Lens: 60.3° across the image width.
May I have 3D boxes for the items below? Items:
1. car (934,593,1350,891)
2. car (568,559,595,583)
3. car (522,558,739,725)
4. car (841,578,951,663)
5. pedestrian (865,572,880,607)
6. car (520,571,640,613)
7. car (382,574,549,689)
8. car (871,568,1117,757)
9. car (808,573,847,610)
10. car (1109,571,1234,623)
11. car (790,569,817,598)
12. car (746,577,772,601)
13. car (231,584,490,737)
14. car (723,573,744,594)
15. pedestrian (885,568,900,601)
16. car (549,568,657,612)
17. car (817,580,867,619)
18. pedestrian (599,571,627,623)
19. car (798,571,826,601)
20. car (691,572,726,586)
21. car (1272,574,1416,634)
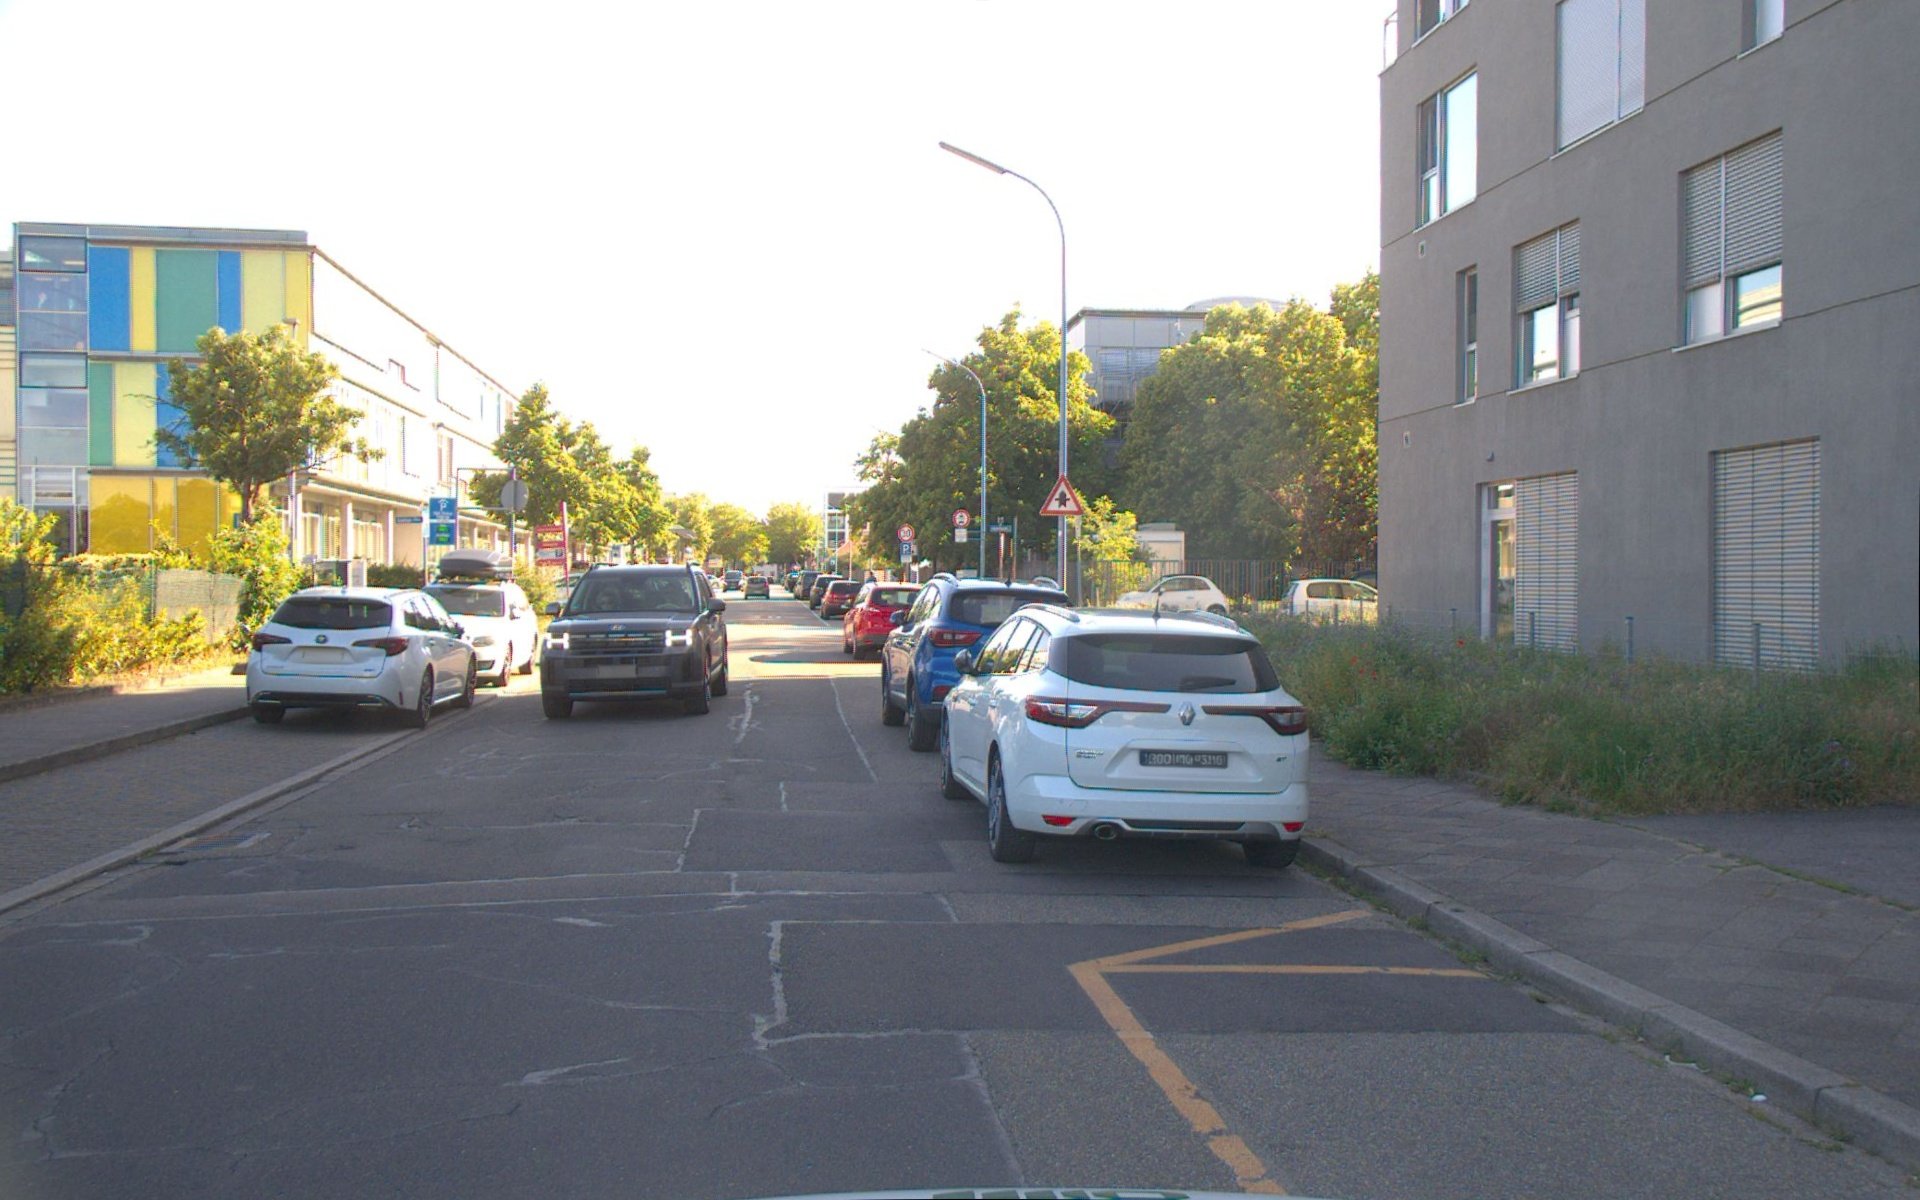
[{"bbox_3d":[0.910,0.728,10.762,1.711,1.454,4.580,2,1,-6],"label":"car"},{"bbox_3d":[-33.400,-2.556,145.970,1.956,2.049,3.993,0,0,-7],"label":"car"},{"bbox_3d":[-3.890,0.412,20.355,1.904,1.757,4.835,-2,1,-3],"label":"car"},{"bbox_3d":[-1.360,0.360,33.259,1.784,1.526,4.445,2,1,-8],"label":"car"},{"bbox_3d":[-4.550,-0.542,86.072,0.704,1.788,0.883,-2,1,-6],"label":"pedestrian"},{"bbox_3d":[-15.531,-0.310,67.706,4.520,1.680,1.866,0,0,-4],"label":"car"},{"bbox_3d":[-7.432,0.415,25.249,1.663,1.540,4.510,2,0,-7],"label":"car"},{"bbox_3d":[0.184,0.530,16.907,1.783,1.627,4.619,2,1,-8],"label":"car"},{"bbox_3d":[-6.552,-0.440,81.334,1.777,1.695,4.587,1,1,-6],"label":"car"},{"bbox_3d":[6.373,-0.106,50.065,3.478,1.512,1.598,0,1,-6],"label":"car"},{"bbox_3d":[-11.218,-1.204,118.429,1.839,2.013,3.994,-1,1,-7],"label":"car"},{"bbox_3d":[-13.398,-0.750,110.235,1.710,1.570,3.994,0,1,-7],"label":"car"},{"bbox_3d":[-6.638,0.588,18.830,1.713,1.471,4.535,2,1,-7],"label":"car"},{"bbox_3d":[-20.710,-1.531,151.218,1.918,1.900,5.246,0,1,-8],"label":"car"},{"bbox_3d":[-3.467,-0.809,85.021,0.685,1.690,0.750,-2,1,-7],"label":"pedestrian"},{"bbox_3d":[-16.389,-0.482,76.162,4.652,1.897,1.825,1,1,-7],"label":"car"},{"bbox_3d":[-4.697,-0.045,65.427,1.687,1.480,4.644,1,1,-8],"label":"car"},{"bbox_3d":[-12.751,-0.129,60.771,0.841,1.874,0.825,2,0,-5],"label":"pedestrian"},{"bbox_3d":[-9.532,-0.901,106.077,1.700,1.862,3.900,0,1,-7],"label":"car"},{"bbox_3d":[-29.111,-2.420,191.678,3.911,1.545,1.997,0,-1,-7],"label":"car"},{"bbox_3d":[9.816,0.081,42.430,3.259,1.483,1.714,0,1,-2],"label":"car"}]
